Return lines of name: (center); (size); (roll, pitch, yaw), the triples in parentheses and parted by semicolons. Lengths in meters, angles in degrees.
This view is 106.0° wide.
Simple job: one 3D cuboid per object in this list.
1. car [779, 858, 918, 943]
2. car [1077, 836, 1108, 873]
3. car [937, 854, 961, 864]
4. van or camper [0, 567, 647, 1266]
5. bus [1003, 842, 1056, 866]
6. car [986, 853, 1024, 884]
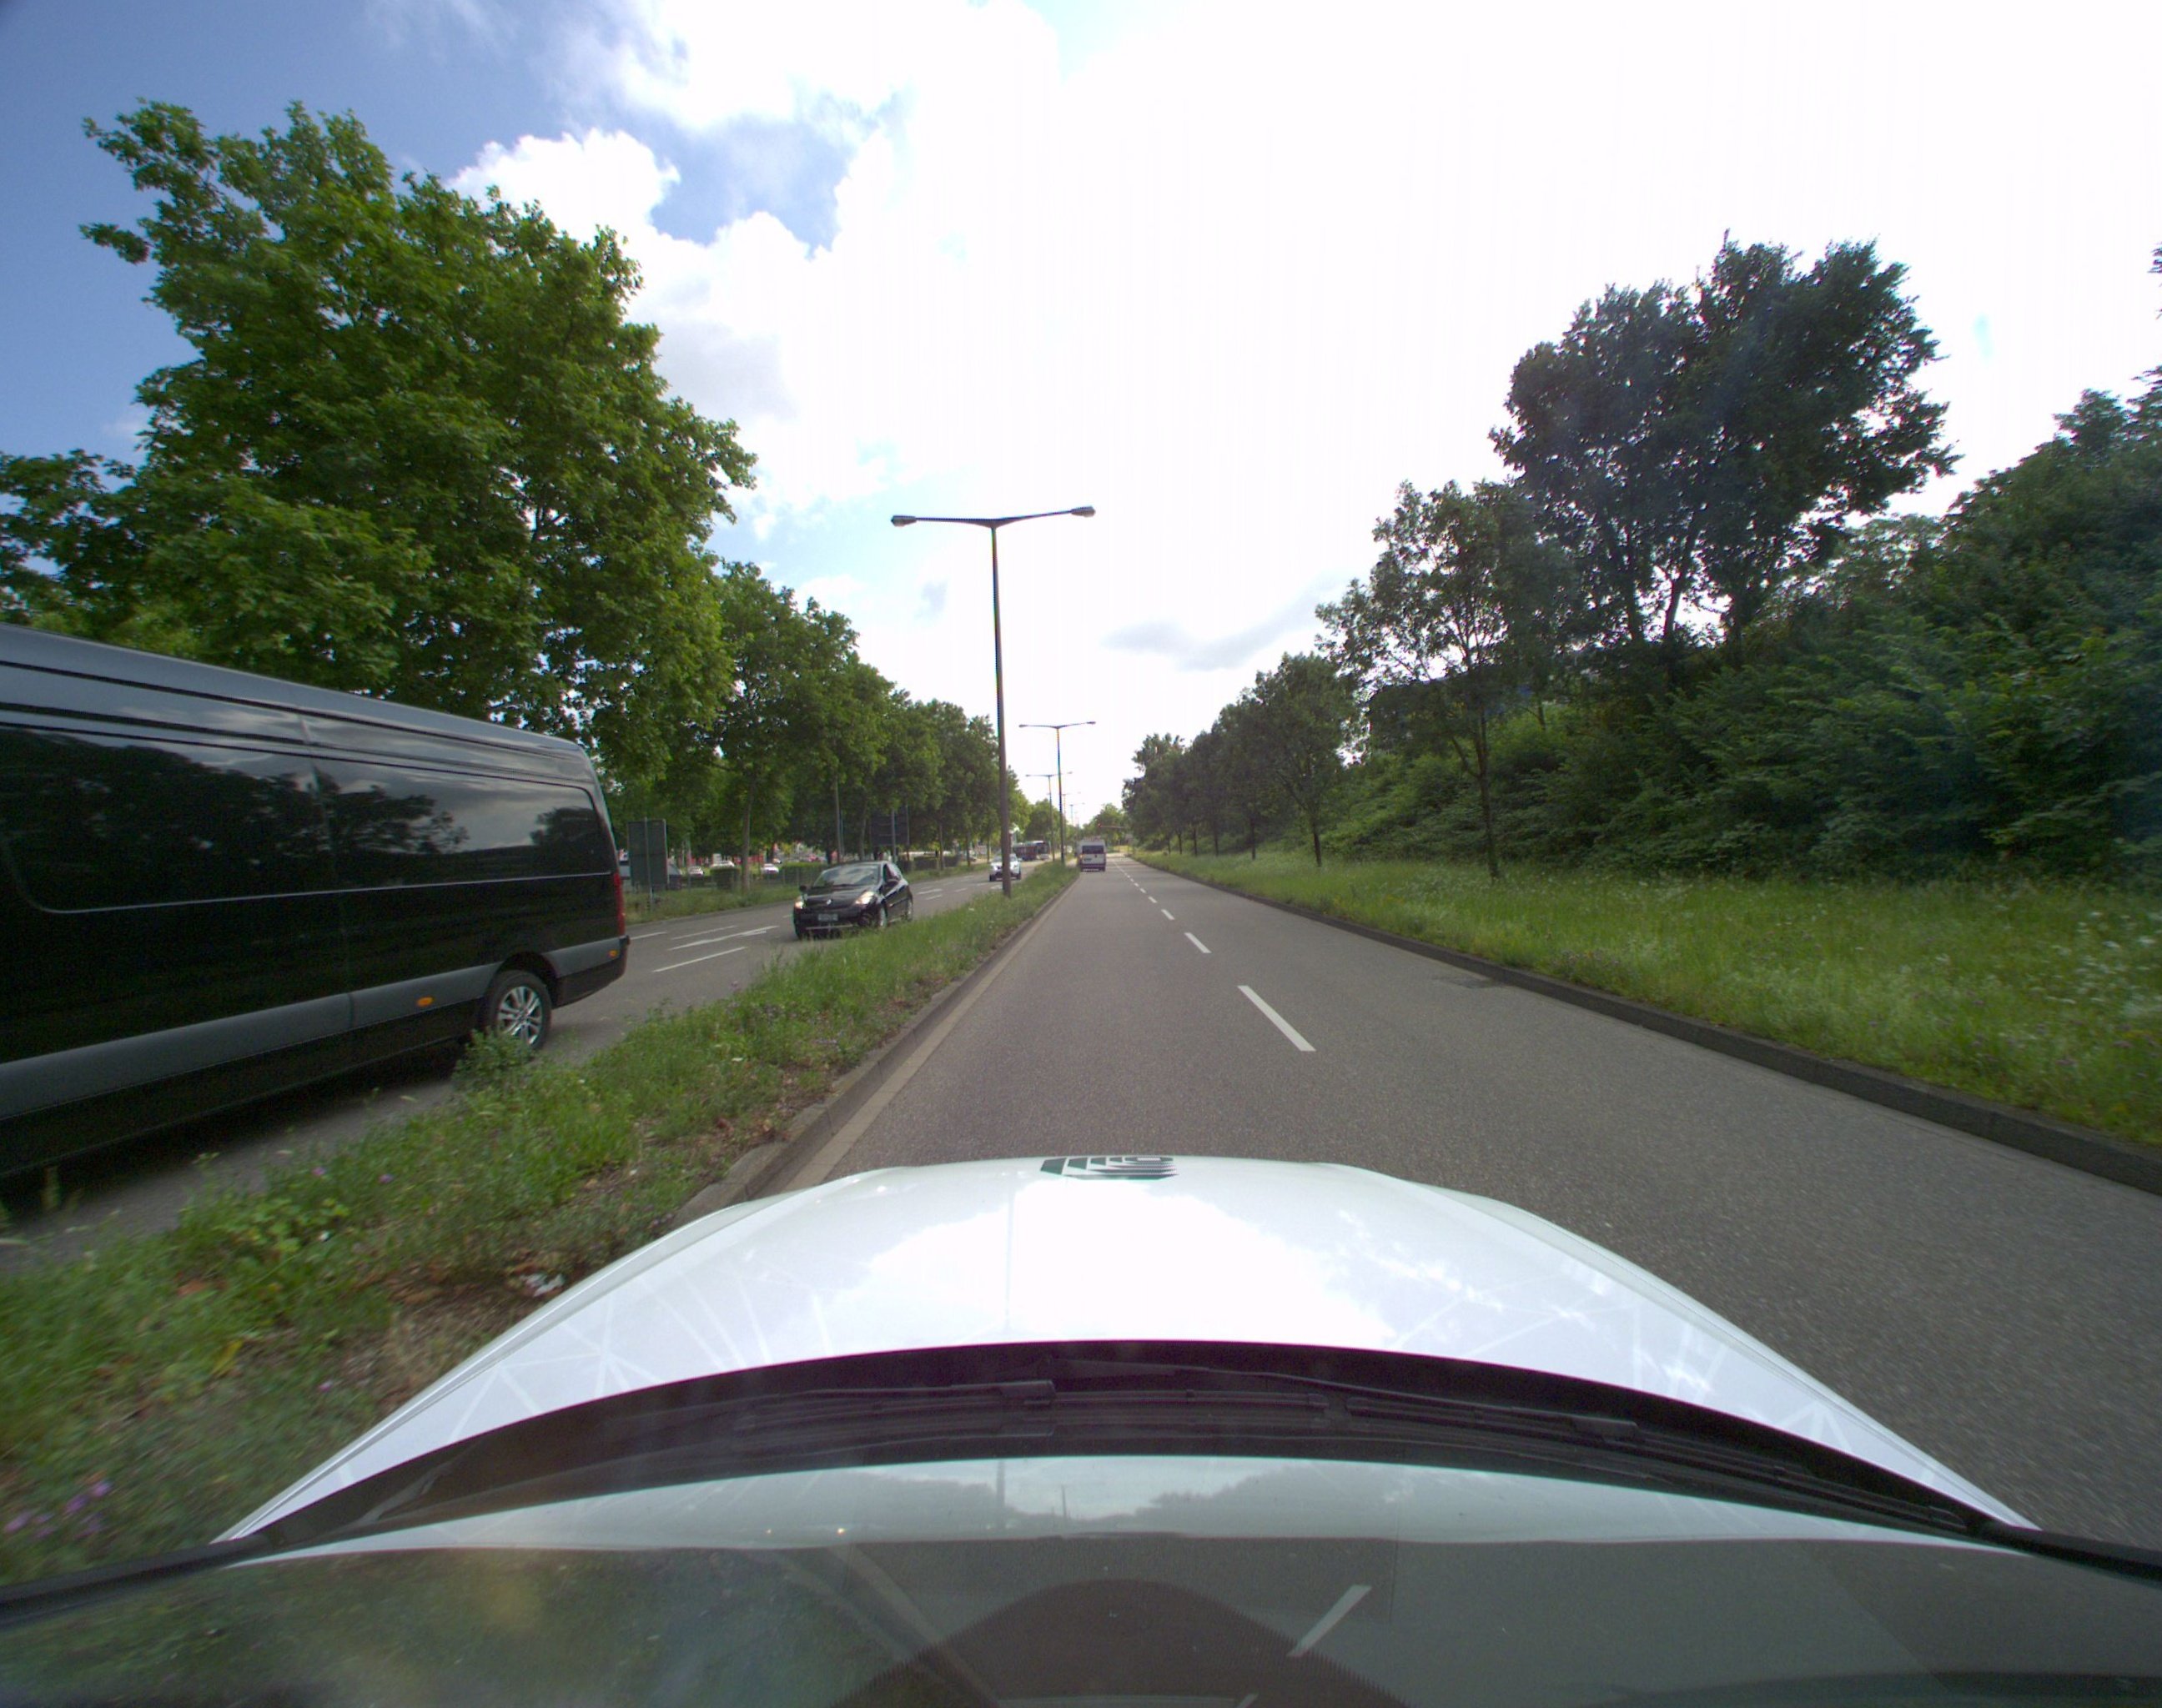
car: (-4.666, 0.877, 16.947); (1.689, 1.464, 3.940); (-3, -1, 0)
car: (0.853, 0.080, 64.349); (2.191, 2.726, 4.928); (-1, -1, -1)
car: (-24.687, 0.967, 151.779); (4.019, 1.838, 1.843); (1, -5, -38)
van or camper: (-5.177, 0.283, 4.295); (2.098, 2.660, 6.715); (-3, 0, -1)
bus: (-8.512, 0.036, 132.278); (3.130, 3.274, 12.213); (-3, -1, -31)
car: (-4.543, 0.829, 49.109); (1.808, 1.640, 4.350); (-4, 0, -1)
